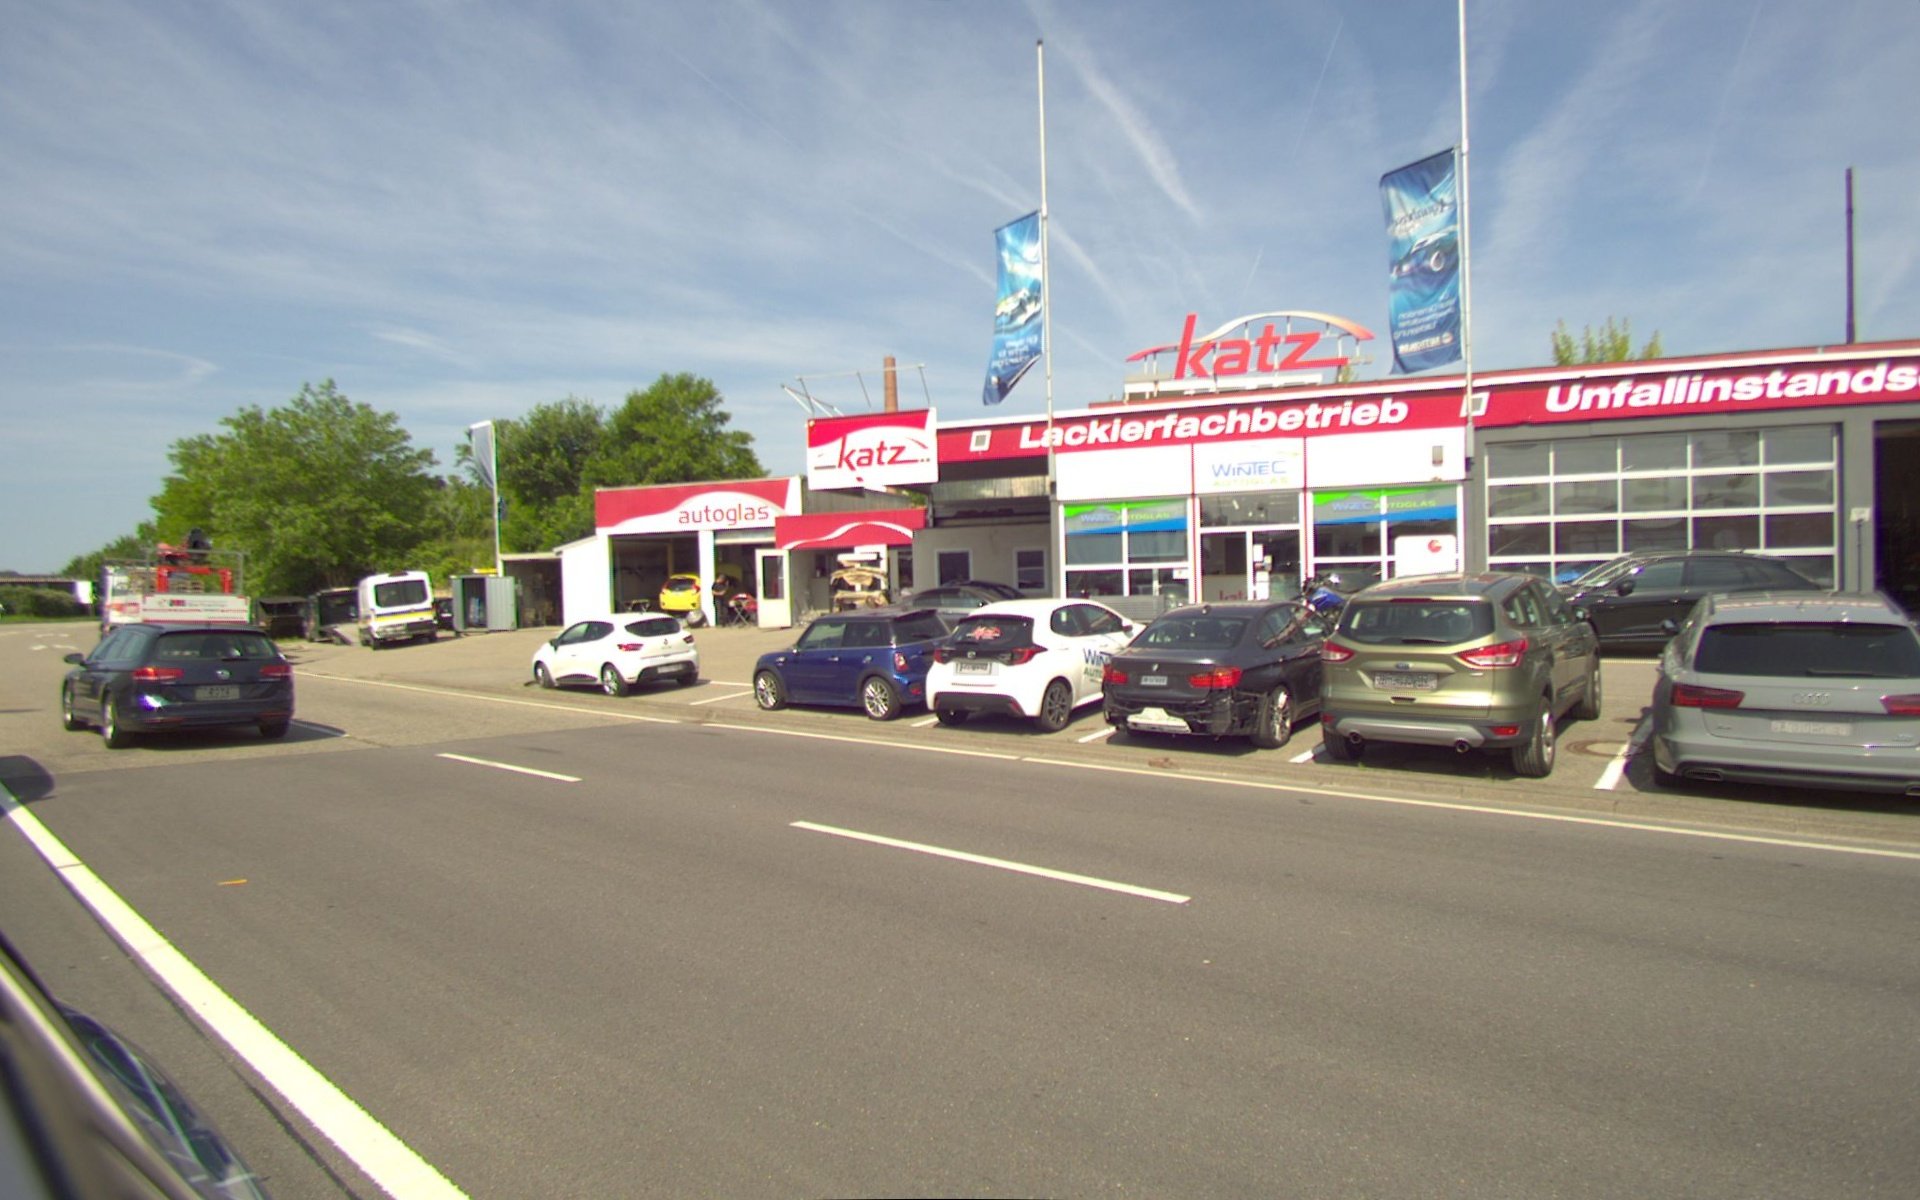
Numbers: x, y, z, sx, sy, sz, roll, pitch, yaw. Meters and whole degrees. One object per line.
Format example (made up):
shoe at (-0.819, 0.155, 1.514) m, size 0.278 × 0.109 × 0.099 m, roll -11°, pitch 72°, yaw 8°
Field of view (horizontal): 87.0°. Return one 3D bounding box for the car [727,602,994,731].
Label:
car at (-1.539, 0.885, 14.904) m, size 3.781 × 1.504 × 1.761 m, roll -1°, pitch 4°, yaw 42°

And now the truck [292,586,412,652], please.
truck at (-25.599, 0.767, 42.352) m, size 2.304 × 2.313 × 8.811 m, roll -8°, pitch 5°, yaw -43°

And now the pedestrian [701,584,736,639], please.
pedestrian at (-7.934, 0.378, 33.262) m, size 0.895 × 1.775 × 0.714 m, roll 0°, pitch 1°, yaw 44°

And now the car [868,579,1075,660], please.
car at (0.290, 0.450, 23.408) m, size 4.360 × 1.515 × 1.849 m, roll -4°, pitch 2°, yaw 18°

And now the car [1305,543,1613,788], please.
car at (4.946, 0.433, 9.741) m, size 1.805 × 1.729 × 3.849 m, roll -1°, pitch 4°, yaw 39°

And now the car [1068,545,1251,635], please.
car at (4.365, -0.229, 22.092) m, size 3.727 × 1.772 × 1.696 m, roll -2°, pitch 3°, yaw 16°

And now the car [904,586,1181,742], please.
car at (1.223, 0.716, 13.370) m, size 1.844 × 1.536 × 3.761 m, roll -1°, pitch 3°, yaw 38°

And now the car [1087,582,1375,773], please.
car at (3.169, 0.707, 11.361) m, size 1.790 × 1.536 × 3.674 m, roll -1°, pitch 4°, yaw 38°

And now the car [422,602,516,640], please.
car at (-21.765, 0.909, 45.029) m, size 1.725 × 1.541 × 3.650 m, roll -1°, pitch 1°, yaw 18°

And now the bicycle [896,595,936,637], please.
bicycle at (-1.235, 0.443, 28.632) m, size 0.412 × 0.978 × 1.987 m, roll -1°, pitch 5°, yaw 19°

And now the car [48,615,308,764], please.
car at (-10.122, 1.014, 12.974) m, size 4.384 × 1.571 × 1.788 m, roll -1°, pitch -1°, yaw 40°

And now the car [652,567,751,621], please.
car at (-9.324, -0.255, 36.806) m, size 1.725 × 1.737 × 3.650 m, roll -2°, pitch 3°, yaw 18°

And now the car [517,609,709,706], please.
car at (-6.737, 1.019, 19.454) m, size 3.999 × 1.630 × 1.760 m, roll -1°, pitch 1°, yaw 42°

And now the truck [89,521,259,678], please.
truck at (-25.277, 0.106, 32.245) m, size 2.922 × 4.241 × 10.652 m, roll 1°, pitch -2°, yaw -45°

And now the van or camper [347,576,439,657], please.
van or camper at (-20.438, 0.535, 36.351) m, size 2.126 × 2.517 × 5.965 m, roll -6°, pitch 3°, yaw -35°

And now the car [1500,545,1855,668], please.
car at (11.009, 0.058, 15.903) m, size 4.089 × 1.686 × 1.820 m, roll 0°, pitch 6°, yaw 15°

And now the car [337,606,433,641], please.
car at (-27.551, 1.120, 48.603) m, size 1.711 × 1.522 × 3.631 m, roll -1°, pitch 1°, yaw 32°

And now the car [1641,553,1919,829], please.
car at (6.789, 0.505, 8.170) m, size 1.834 × 1.495 × 4.238 m, roll -1°, pitch 4°, yaw 38°

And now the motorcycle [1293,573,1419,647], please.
motorcycle at (7.007, 0.182, 18.004) m, size 2.039 × 1.271 × 0.767 m, roll -1°, pitch 0°, yaw 20°
